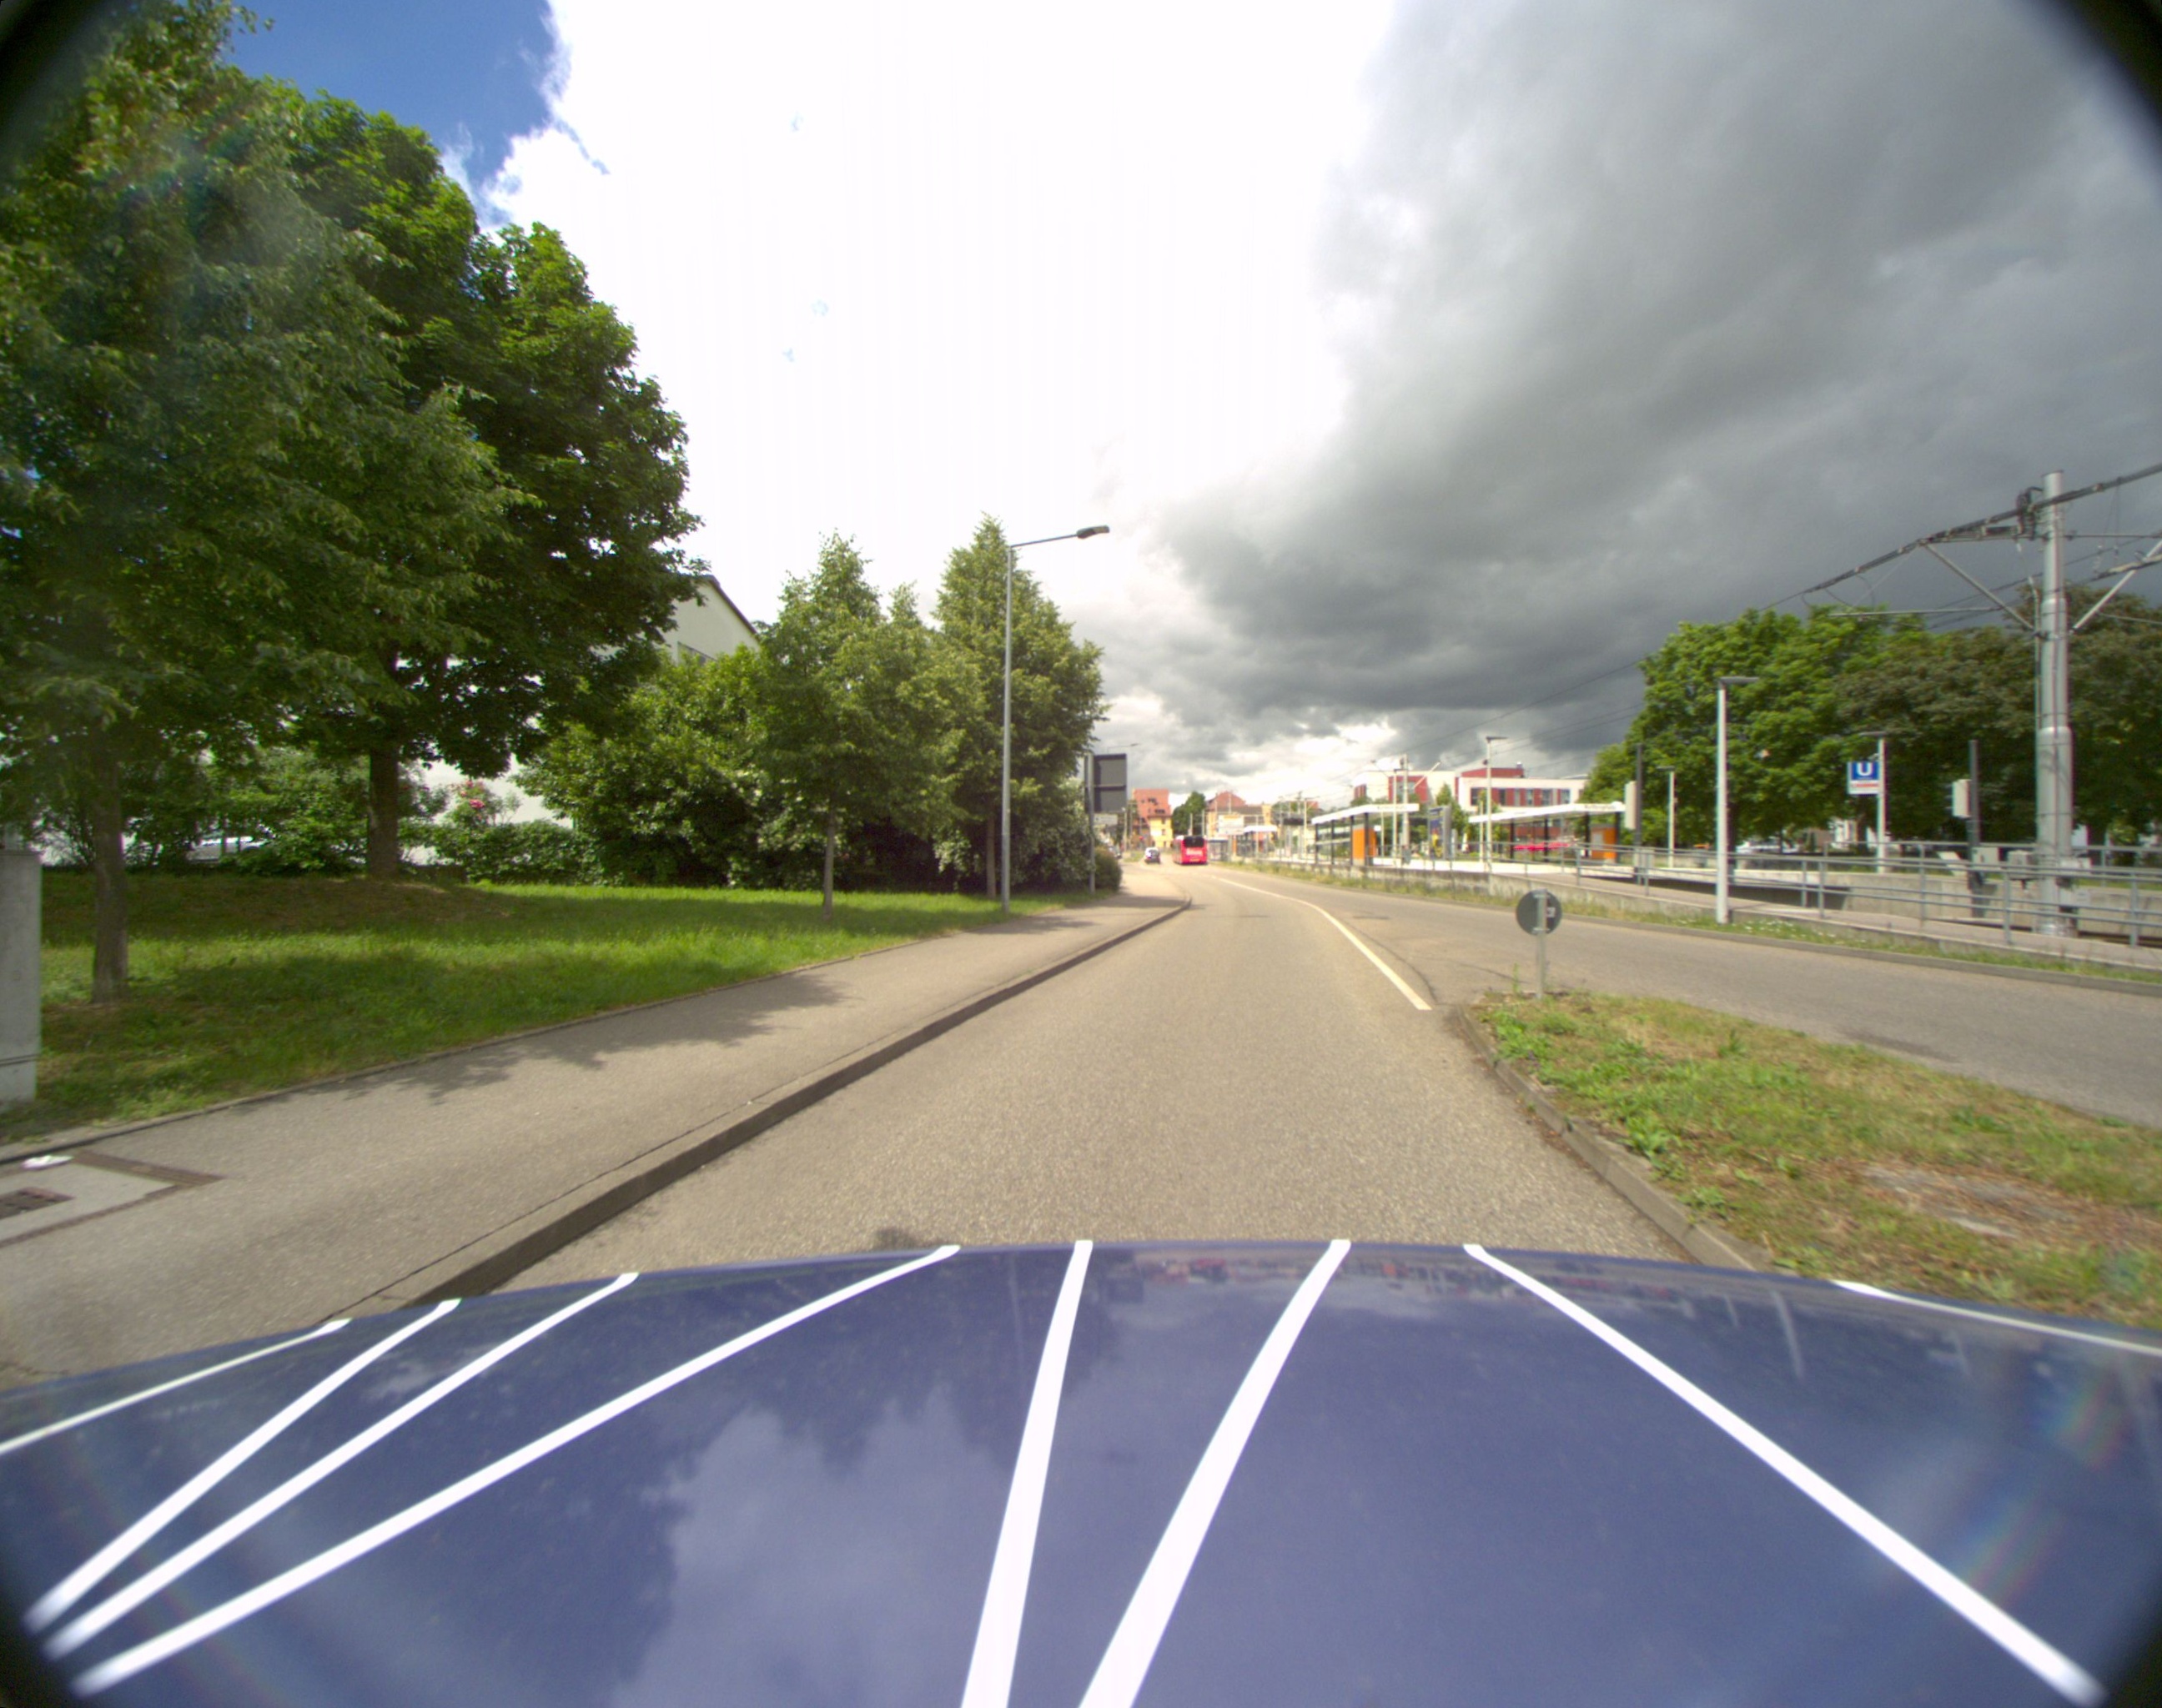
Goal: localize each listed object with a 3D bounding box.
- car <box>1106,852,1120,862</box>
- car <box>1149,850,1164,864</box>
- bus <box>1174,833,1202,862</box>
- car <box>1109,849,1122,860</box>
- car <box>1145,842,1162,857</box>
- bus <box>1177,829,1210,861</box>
[{"bbox_3d":[4.935,0.456,118.011,1.882,1.420,4.000,0,-1,0],"label":"car"},{"bbox_3d":[8.683,0.369,88.049,1.533,1.542,3.732,-2,1,3],"label":"car"},{"bbox_3d":[12.538,-0.674,89.705,2.732,3.090,9.709,0,-1,5],"label":"bus"},{"bbox_3d":[5.706,0.090,124.379,1.998,1.639,4.421,0,-1,1],"label":"car"},{"bbox_3d":[9.083,-0.546,95.357,1.766,1.652,4.509,1,-3,2],"label":"car"},{"bbox_3d":[11.824,-0.842,80.360,2.732,3.051,8.967,0,-1,4],"label":"bus"}]
